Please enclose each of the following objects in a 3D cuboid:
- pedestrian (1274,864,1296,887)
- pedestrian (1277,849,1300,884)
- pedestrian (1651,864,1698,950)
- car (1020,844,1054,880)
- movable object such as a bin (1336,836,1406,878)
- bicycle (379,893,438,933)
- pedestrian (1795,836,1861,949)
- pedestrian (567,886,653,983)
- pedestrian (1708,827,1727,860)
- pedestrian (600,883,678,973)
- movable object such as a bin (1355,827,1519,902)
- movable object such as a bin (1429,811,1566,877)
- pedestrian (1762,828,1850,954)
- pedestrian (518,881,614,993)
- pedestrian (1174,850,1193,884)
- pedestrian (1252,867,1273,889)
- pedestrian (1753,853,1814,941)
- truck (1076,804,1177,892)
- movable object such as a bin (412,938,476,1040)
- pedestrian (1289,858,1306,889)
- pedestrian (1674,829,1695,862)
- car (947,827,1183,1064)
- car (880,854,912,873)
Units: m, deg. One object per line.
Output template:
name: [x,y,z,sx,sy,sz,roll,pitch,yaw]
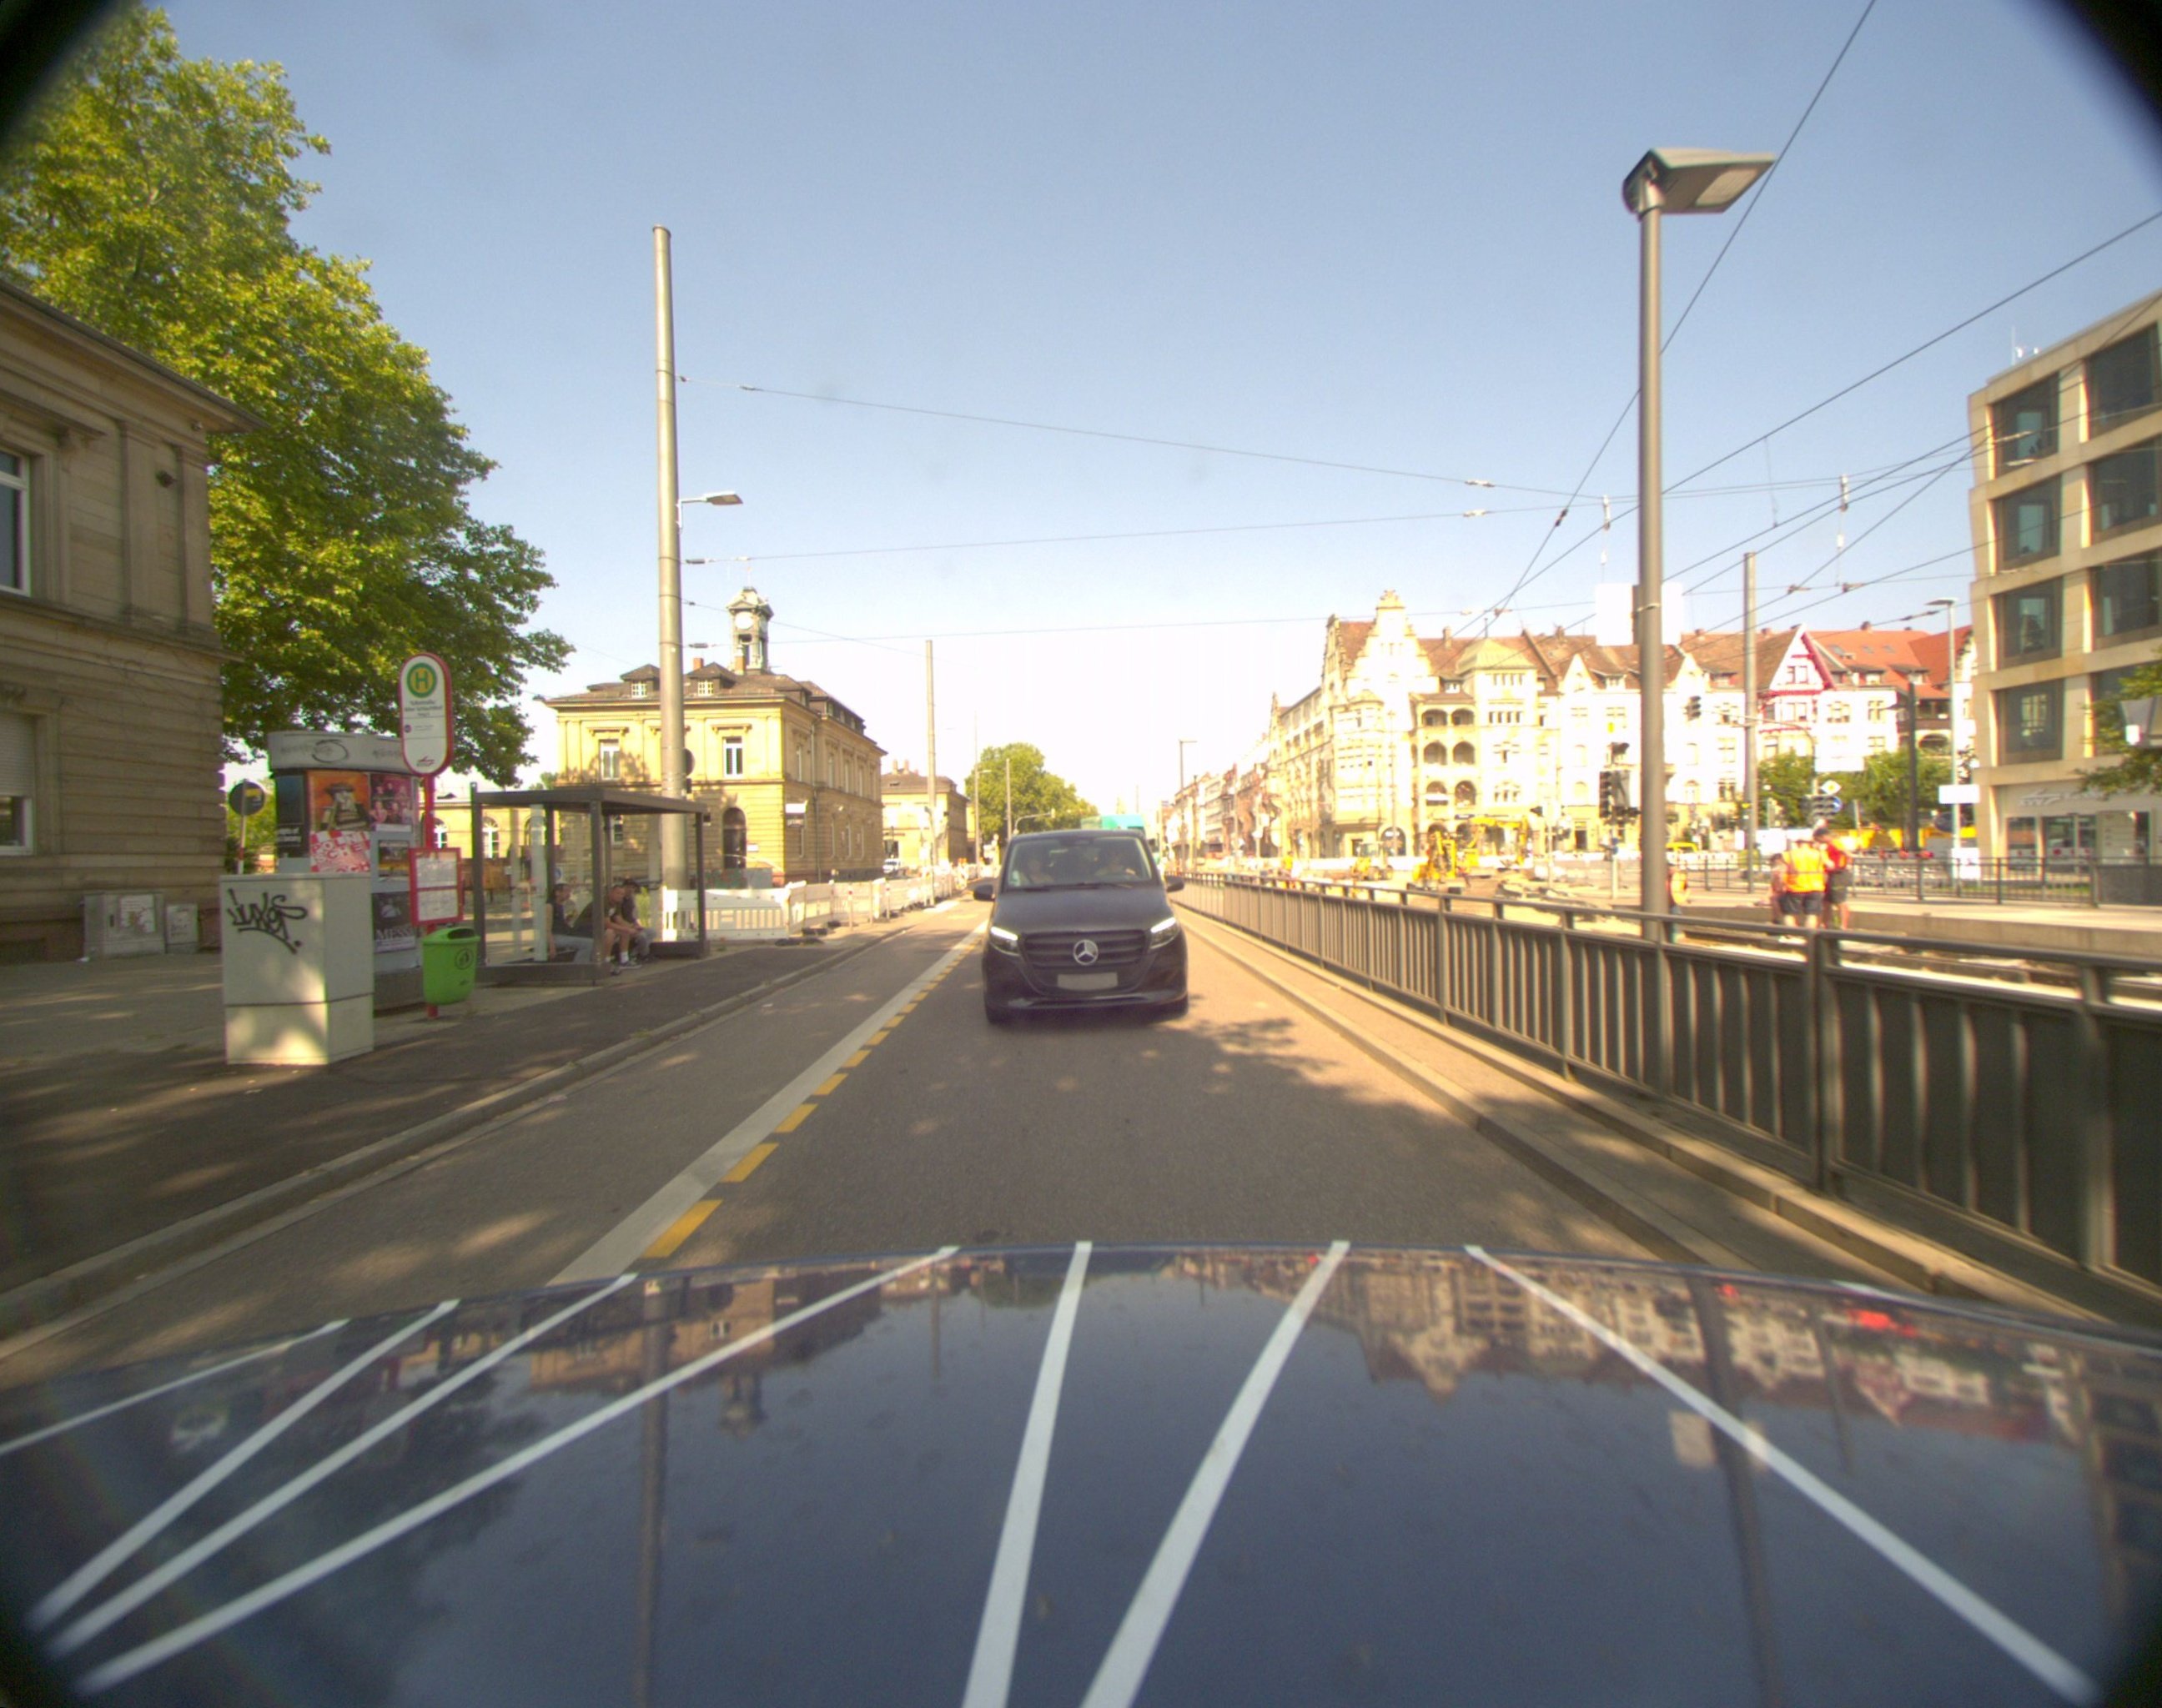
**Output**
pedestrian: [8.735,0.921,32.570,0.512,0.982,0.933,-1,0,-16]
pedestrian: [9.292,0.548,34.048,0.818,1.557,0.556,-1,0,-11]
pedestrian: [11.930,1.041,15.285,0.667,1.653,0.773,-1,0,33]
car: [-3.152,0.506,55.231,2.213,2.410,7.197,-1,0,-3]
movable object such as a bin: [20.547,0.160,53.781,4.825,2.818,2.443,-1,1,-37]
bicycle: [-17.648,1.533,19.989,0.493,0.993,1.816,-1,-2,-19]
pedestrian: [12.343,0.621,12.557,0.627,1.805,0.639,-1,0,-32]
pedestrian: [-6.568,1.112,10.623,0.743,1.254,0.611,-2,2,-1]
pedestrian: [39.014,-0.664,46.592,0.668,2.002,0.829,-1,1,23]
pedestrian: [-6.634,1.101,11.422,0.743,1.254,0.611,-2,2,-1]
movable object such as a bin: [16.218,0.353,35.536,3.622,2.941,8.474,-2,1,0]
movable object such as a bin: [28.952,-0.679,53.365,7.368,4.323,4.973,-1,2,13]
pedestrian: [11.562,0.582,12.145,0.724,1.939,0.789,-1,0,15]
pedestrian: [-6.726,1.065,9.951,0.752,1.358,0.611,-2,2,-1]
pedestrian: [4.787,0.622,35.580,0.762,1.557,0.691,-1,0,-1]
pedestrian: [7.655,1.014,31.995,0.820,0.920,0.513,-1,0,18]
pedestrian: [12.789,0.760,13.835,0.642,1.545,0.625,-1,0,-26]
truck: [2.067,-0.225,38.675,2.802,3.889,8.410,-3,0,-12]
movable object such as a bin: [-6.095,1.281,7.279,0.272,0.910,0.386,-1,0,-2]
pedestrian: [10.850,0.962,38.075,0.701,1.557,0.557,-1,0,5]
pedestrian: [38.140,-0.563,48.002,0.900,2.053,0.668,-2,1,-24]
car: [0.027,0.736,8.320,1.852,1.875,4.179,-3,1,5]
car: [-19.492,1.033,80.094,1.907,1.772,4.229,0,-3,7]
